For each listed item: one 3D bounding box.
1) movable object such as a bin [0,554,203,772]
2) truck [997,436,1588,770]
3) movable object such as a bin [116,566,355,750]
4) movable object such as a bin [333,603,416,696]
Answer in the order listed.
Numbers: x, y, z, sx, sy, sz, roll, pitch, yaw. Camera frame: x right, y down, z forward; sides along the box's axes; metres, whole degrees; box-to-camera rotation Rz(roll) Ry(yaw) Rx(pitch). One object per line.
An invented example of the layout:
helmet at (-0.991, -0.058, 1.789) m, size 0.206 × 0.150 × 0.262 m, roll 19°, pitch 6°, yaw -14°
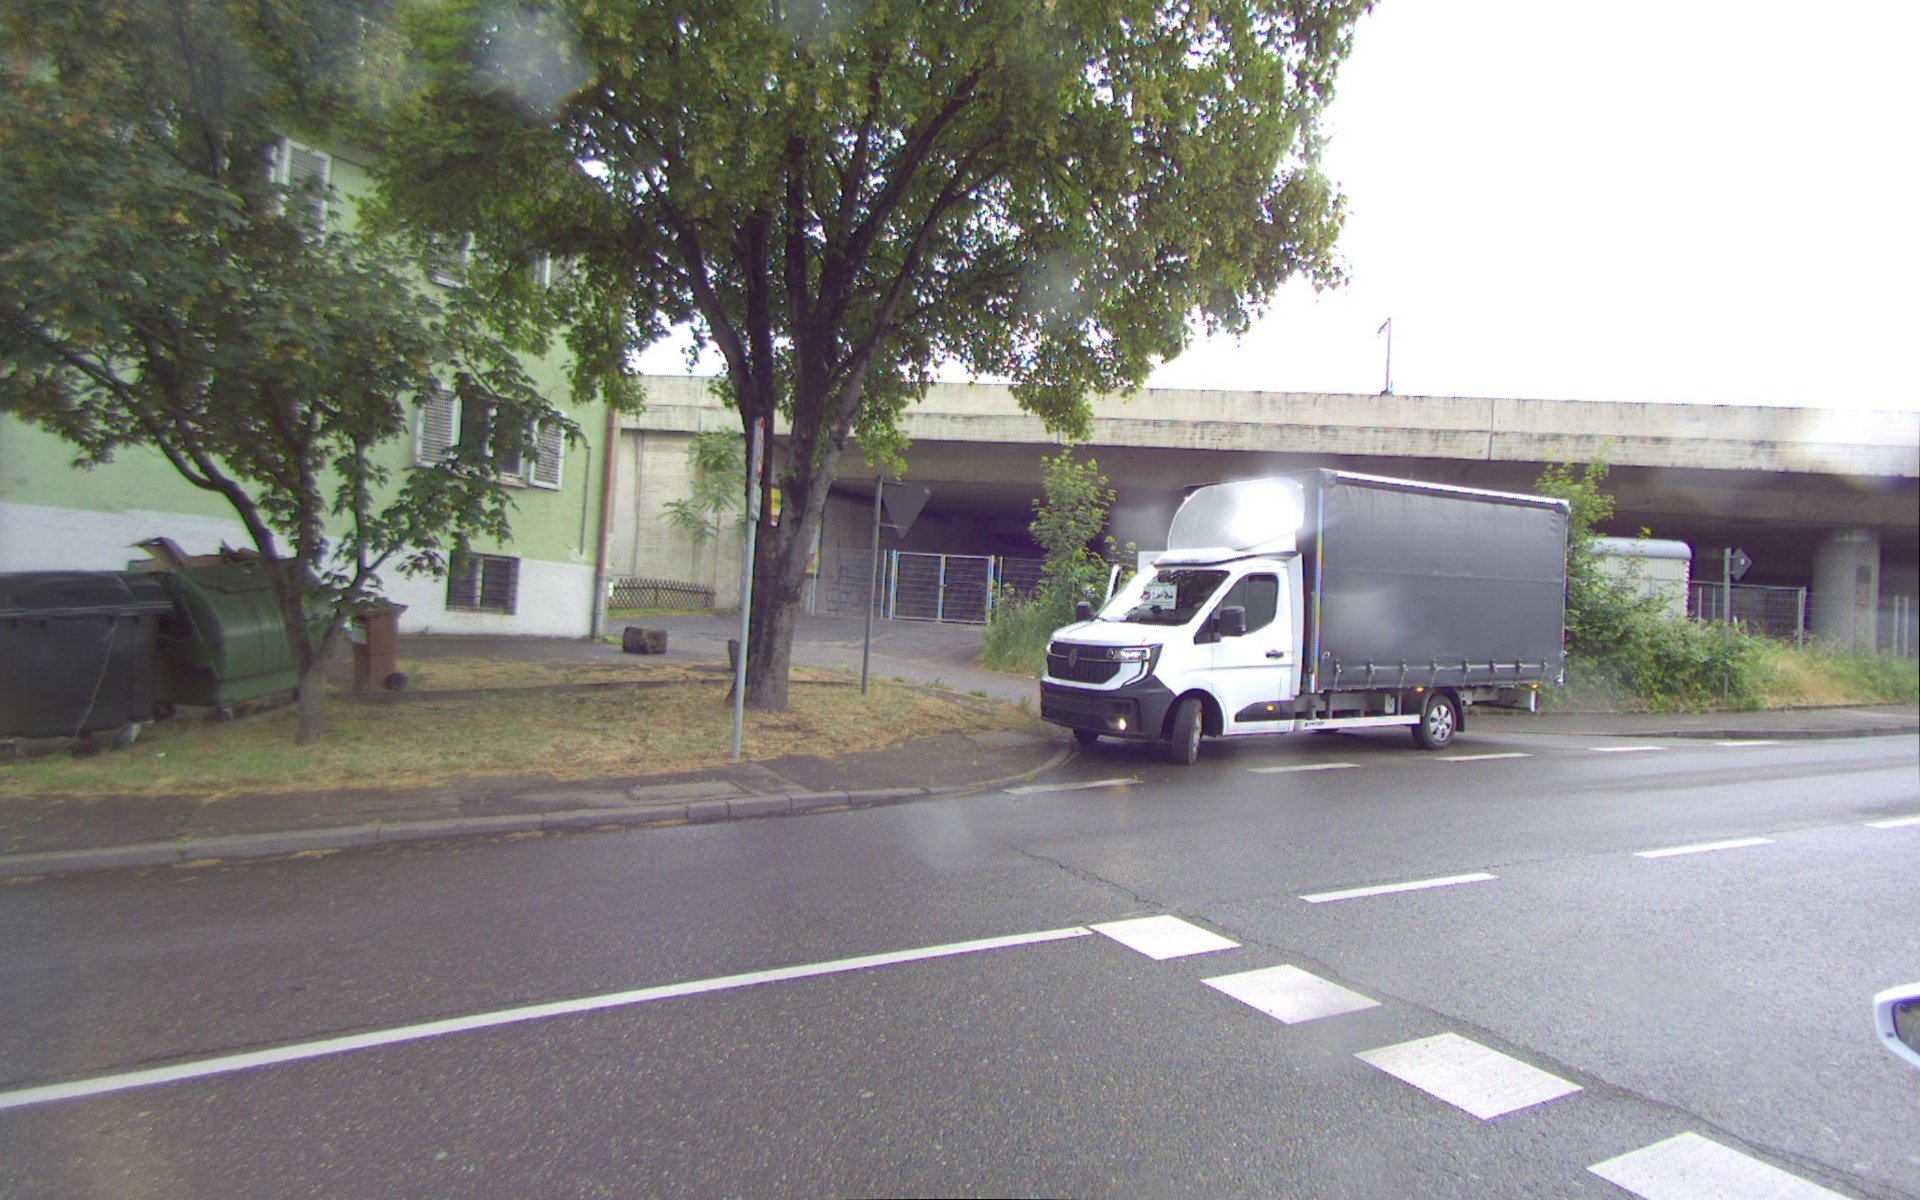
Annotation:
movable object such as a bin at (-7.290, 0.421, 8.060) m, size 1.268 × 1.457 × 1.463 m, roll 5°, pitch 5°, yaw 13°
truck at (4.467, 0.180, 12.859) m, size 7.681 × 3.279 × 2.599 m, roll 3°, pitch -1°, yaw -29°
movable object such as a bin at (-6.723, 0.474, 9.424) m, size 1.078 × 1.457 × 1.463 m, roll 5°, pitch 5°, yaw 13°
movable object such as a bin at (-6.347, 0.535, 10.906) m, size 0.715 × 0.970 × 0.554 m, roll 3°, pitch -1°, yaw -30°
